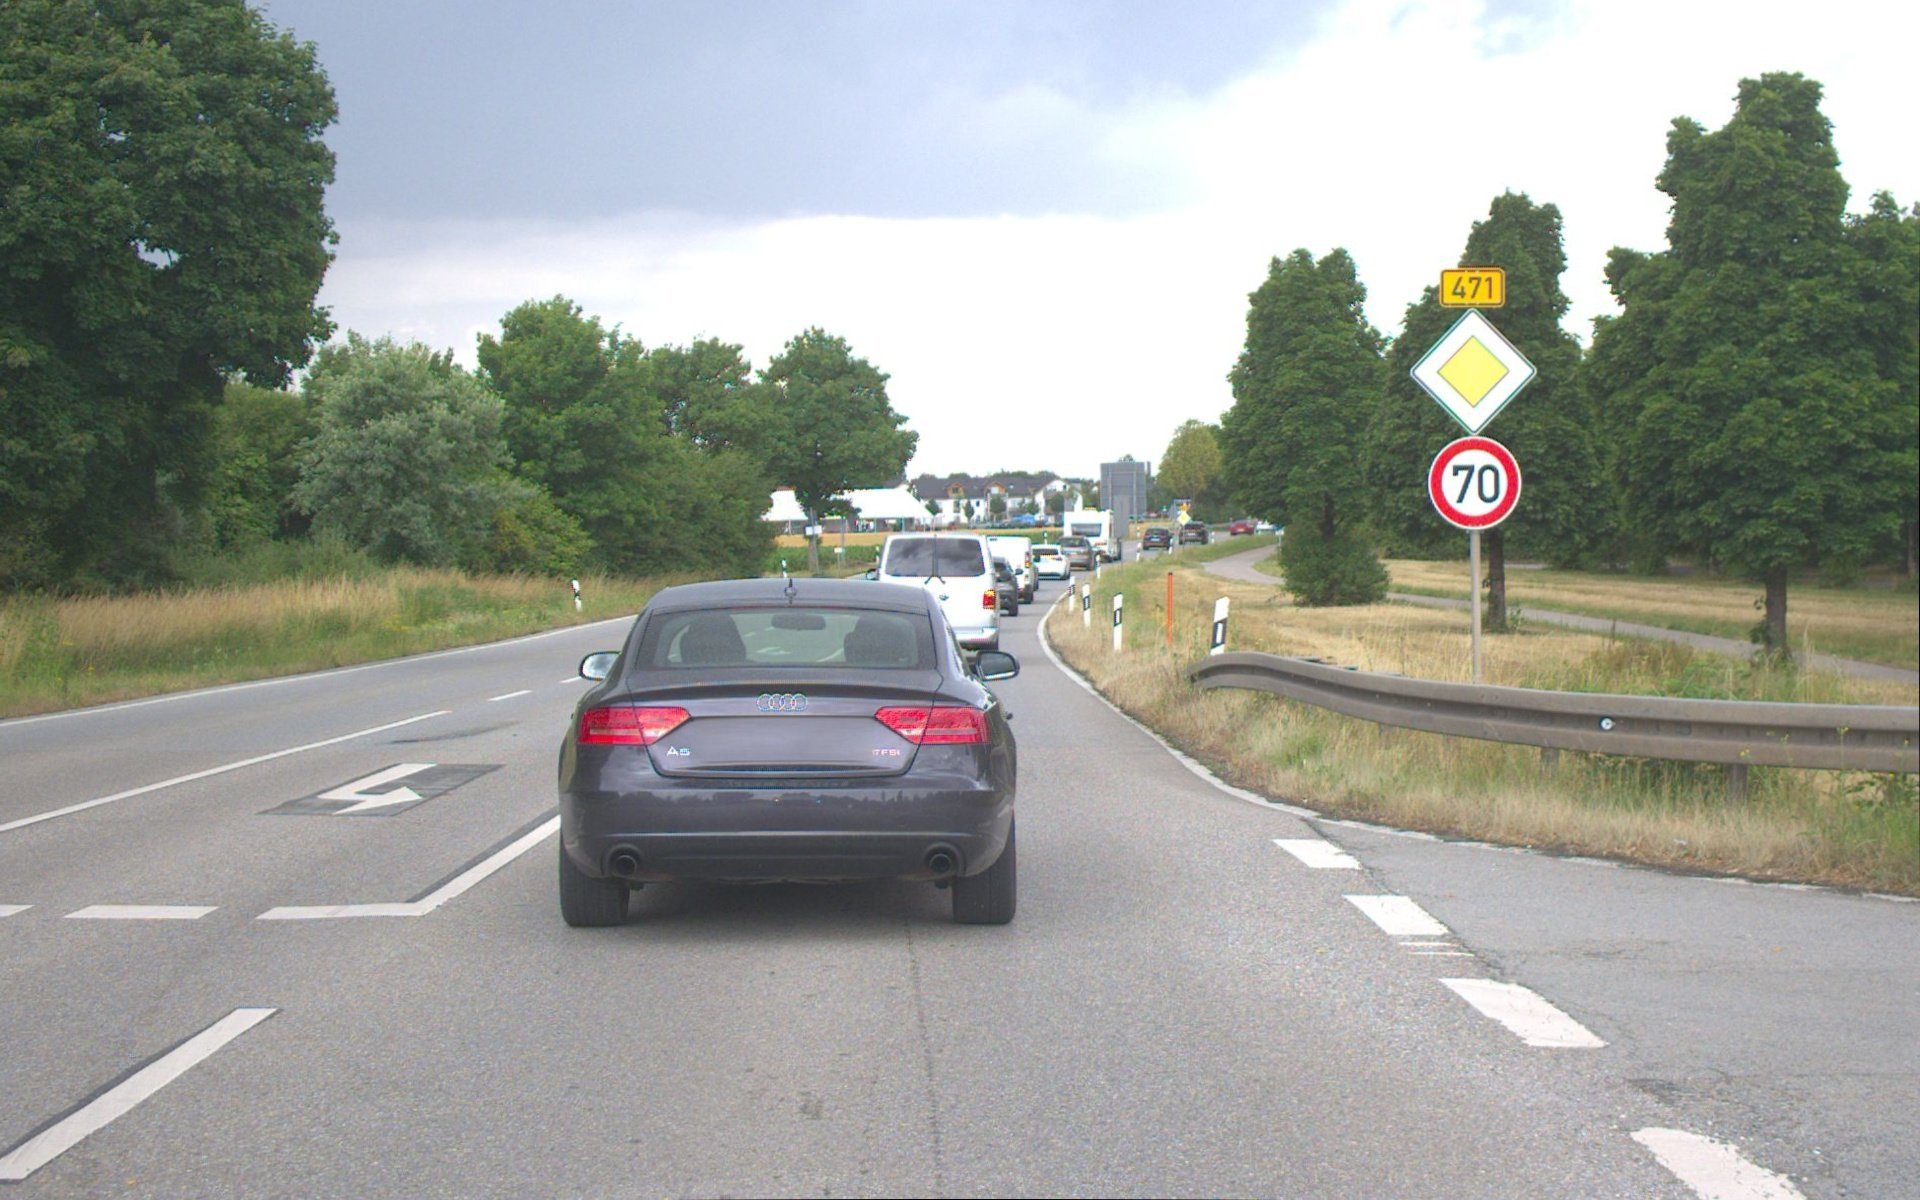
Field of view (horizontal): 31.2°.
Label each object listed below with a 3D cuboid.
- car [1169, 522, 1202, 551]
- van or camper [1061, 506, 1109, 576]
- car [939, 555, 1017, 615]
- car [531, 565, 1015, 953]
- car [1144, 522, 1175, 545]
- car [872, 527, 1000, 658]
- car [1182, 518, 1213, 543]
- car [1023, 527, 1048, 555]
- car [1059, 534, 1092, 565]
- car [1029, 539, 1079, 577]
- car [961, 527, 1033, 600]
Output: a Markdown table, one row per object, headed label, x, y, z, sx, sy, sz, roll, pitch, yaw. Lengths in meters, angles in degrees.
| label | x | y | z | sx | sy | sz | roll | pitch | yaw |
| --- | --- | --- | --- | --- | --- | --- | --- | --- | --- |
| car | 15.765 | -4.415 | 240.133 | 1.993 | 2.007 | 4.000 | 0 | 1 | -1 |
| van or camper | 6.308 | -2.969 | 172.497 | 2.340 | 3.469 | 5.718 | 0 | 1 | 3 |
| car | 0.462 | -0.388 | 86.199 | 1.796 | 1.459 | 3.248 | 0 | 1 | 3 |
| car | -0.718 | 0.569 | 14.727 | 1.783 | 1.372 | 4.000 | 0 | 1 | -1 |
| car | 12.510 | -4.173 | 215.600 | 1.719 | 1.446 | 4.000 | 1 | 1 | 0 |
| car | -0.373 | -0.150 | 51.763 | 1.838 | 1.876 | 4.000 | 0 | 1 | -1 |
| car | 15.736 | -4.618 | 227.728 | 1.821 | 1.591 | 4.000 | 1 | 1 | 0 |
| car | 4.986 | -3.929 | 228.345 | 1.595 | 1.796 | 3.201 | 1 | 1 | 0 |
| car | 5.150 | -2.261 | 153.244 | 1.258 | 1.349 | 3.465 | 0 | 1 | 5 |
| car | 3.754 | -1.680 | 137.049 | 1.736 | 1.509 | 3.746 | 0 | 1 | 5 |
| car | 1.111 | -1.092 | 101.675 | 1.993 | 2.081 | 4.000 | 0 | 1 | 2 |
